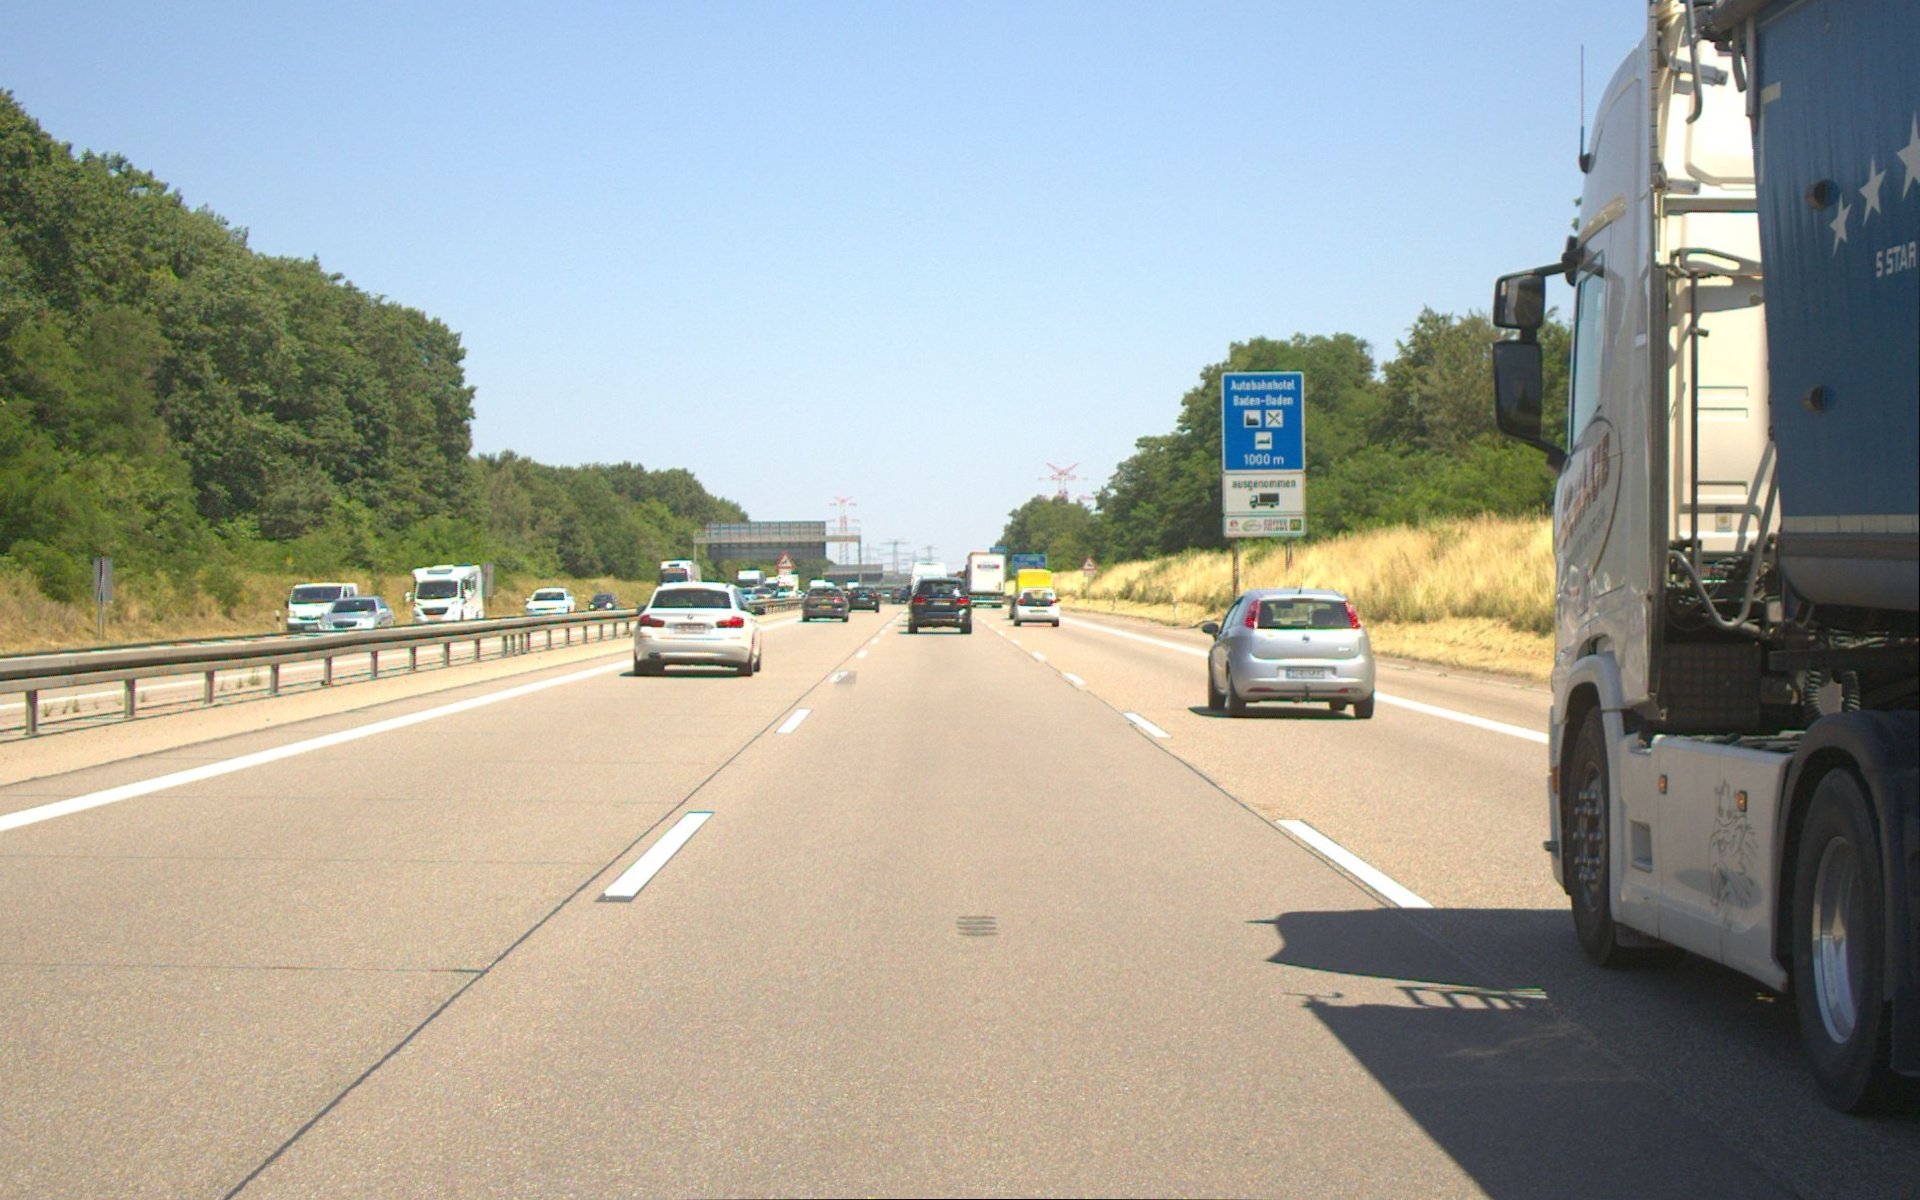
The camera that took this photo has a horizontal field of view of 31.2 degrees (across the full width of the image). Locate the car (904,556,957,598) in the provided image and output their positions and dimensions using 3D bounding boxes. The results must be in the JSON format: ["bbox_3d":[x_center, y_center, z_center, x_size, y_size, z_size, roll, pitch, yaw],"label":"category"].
[{"bbox_3d":[-1.092,-0.856,125.964,1.894,1.464,4.262,1,1,-1],"label":"car"}]

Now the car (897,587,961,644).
[{"bbox_3d":[-0.980,0.469,106.484,1.831,1.666,4.000,1,0,-2],"label":"car"}]

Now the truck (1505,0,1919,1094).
[{"bbox_3d":[3.783,-0.538,12.566,2.684,3.746,5.944,0,1,1],"label":"truck"}]

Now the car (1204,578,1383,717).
[{"bbox_3d":[3.858,0.520,40.326,1.719,1.486,3.737,1,1,0],"label":"car"}]

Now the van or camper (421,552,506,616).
[{"bbox_3d":[-21.263,-0.695,147.527,2.462,2.566,7.770,-2,0,0],"label":"van or camper"}]

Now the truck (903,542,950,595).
[{"bbox_3d":[-1.865,-1.714,190.576,2.428,2.874,6.205,1,0,-2],"label":"truck"}]

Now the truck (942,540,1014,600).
[{"bbox_3d":[1.311,-2.243,258.741,3.991,4.300,9.883,2,0,-7],"label":"truck"}]

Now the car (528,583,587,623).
[{"bbox_3d":[-18.088,0.108,154.654,1.993,1.688,5.245,-2,0,0],"label":"car"}]

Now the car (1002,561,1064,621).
[{"bbox_3d":[3.325,-0.404,157.403,2.666,2.625,6.113,1,0,0],"label":"car"}]

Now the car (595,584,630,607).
[{"bbox_3d":[-22.472,-0.294,222.366,1.814,1.391,4.111,-2,0,0],"label":"car"}]

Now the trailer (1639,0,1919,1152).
[{"bbox_3d":[3.794,-0.465,7.457,2.737,3.746,9.109,0,1,-1],"label":"trailer"}]

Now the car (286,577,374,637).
[{"bbox_3d":[-21.504,0.222,117.503,1.993,1.946,5.245,-2,0,0],"label":"car"}]

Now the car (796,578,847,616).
[{"bbox_3d":[-5.488,-0.126,136.820,1.832,1.427,4.999,1,1,0],"label":"car"}]

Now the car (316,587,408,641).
[{"bbox_3d":[-17.936,0.392,103.313,1.851,1.522,5.205,-1,0,0],"label":"car"}]

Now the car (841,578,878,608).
[{"bbox_3d":[-5.528,-0.394,189.431,1.875,1.575,3.928,0,1,0],"label":"car"}]

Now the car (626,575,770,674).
[{"bbox_3d":[-4.176,0.362,55.499,1.963,1.498,5.405,1,0,-1],"label":"car"}]

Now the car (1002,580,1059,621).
[{"bbox_3d":[2.619,0.023,128.977,1.821,1.486,3.737,1,0,-4],"label":"car"}]
